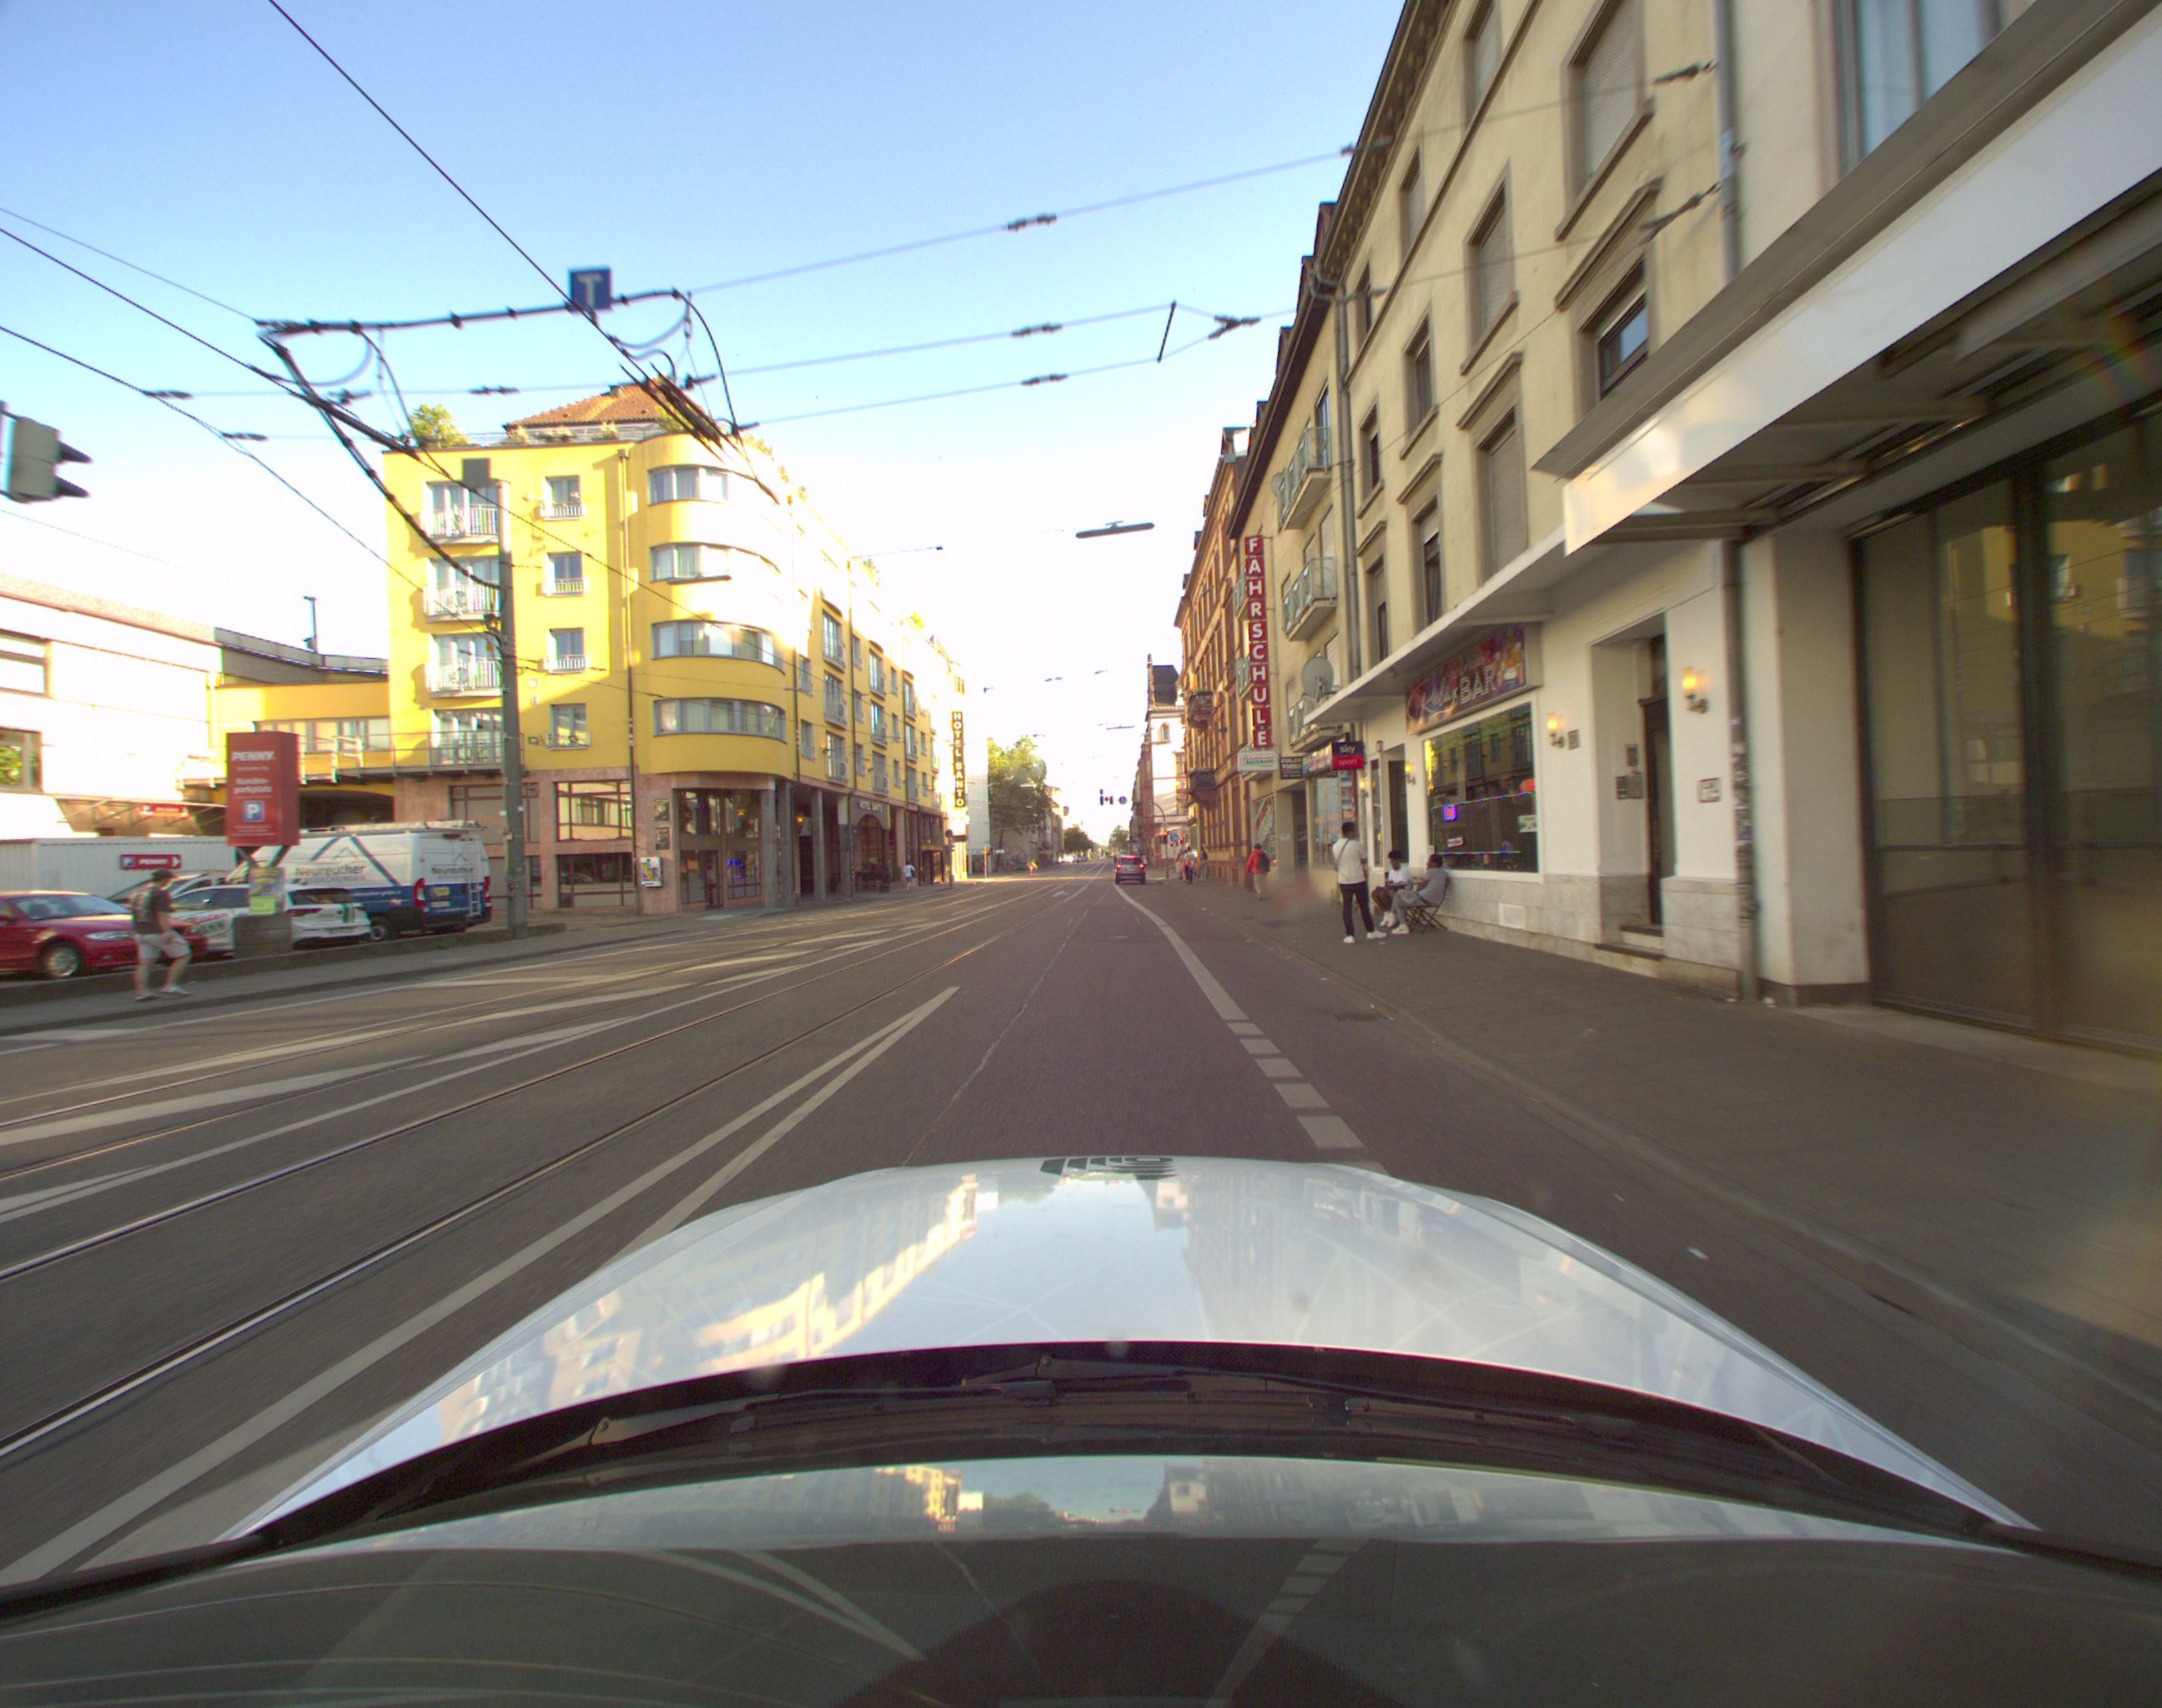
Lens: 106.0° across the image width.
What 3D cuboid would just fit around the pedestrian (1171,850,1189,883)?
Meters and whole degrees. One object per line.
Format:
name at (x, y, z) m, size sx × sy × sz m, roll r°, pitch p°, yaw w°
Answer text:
pedestrian at (5.737, 0.711, 47.243) m, size 0.802 × 1.800 × 0.762 m, roll -6°, pitch -1°, yaw 2°

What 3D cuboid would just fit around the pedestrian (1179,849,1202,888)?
pedestrian at (5.246, 0.685, 39.092) m, size 0.803 × 1.800 × 1.092 m, roll -6°, pitch -1°, yaw 1°

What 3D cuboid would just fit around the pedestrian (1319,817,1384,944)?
pedestrian at (4.122, 0.393, 12.454) m, size 0.699 × 1.812 × 0.682 m, roll -8°, pitch -1°, yaw 18°

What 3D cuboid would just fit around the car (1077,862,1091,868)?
car at (0.904, 3.476, 257.486) m, size 4.004 × 2.014 × 1.985 m, roll -1°, pitch -1°, yaw -23°

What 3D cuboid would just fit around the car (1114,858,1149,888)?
car at (2.952, 1.113, 48.255) m, size 1.986 × 1.618 × 4.001 m, roll 1°, pitch -1°, yaw 2°

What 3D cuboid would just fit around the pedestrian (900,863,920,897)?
pedestrian at (-9.477, 1.441, 45.274) m, size 0.748 × 1.819 × 1.046 m, roll 3°, pitch -1°, yaw 2°

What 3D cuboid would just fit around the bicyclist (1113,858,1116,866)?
bicyclist at (7.124, 1.689, 173.663) m, size 0.573 × 1.554 × 0.595 m, roll -2°, pitch -1°, yaw 3°

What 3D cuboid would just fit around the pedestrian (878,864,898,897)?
pedestrian at (-10.643, 1.466, 44.849) m, size 0.794 × 1.771 × 0.750 m, roll 3°, pitch -1°, yaw 2°

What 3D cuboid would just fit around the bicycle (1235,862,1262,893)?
bicycle at (5.974, 0.827, 29.142) m, size 0.552 × 1.061 × 2.312 m, roll -4°, pitch -1°, yaw 3°

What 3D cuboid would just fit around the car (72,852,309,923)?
car at (-24.500, 0.874, 22.674) m, size 1.986 × 1.736 × 4.121 m, roll -2°, pitch -1°, yaw 1°

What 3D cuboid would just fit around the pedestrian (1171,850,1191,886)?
pedestrian at (5.224, 0.747, 42.705) m, size 0.803 × 1.800 × 0.761 m, roll -6°, pitch -1°, yaw 0°

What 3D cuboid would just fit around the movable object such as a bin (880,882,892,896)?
movable object such as a bin at (-10.536, 1.896, 44.050) m, size 0.381 × 0.716 × 0.842 m, roll 3°, pitch 0°, yaw 4°

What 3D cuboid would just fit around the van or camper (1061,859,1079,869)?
van or camper at (-3.009, 2.779, 221.031) m, size 4.662 × 2.563 × 1.981 m, roll 0°, pitch -2°, yaw -29°

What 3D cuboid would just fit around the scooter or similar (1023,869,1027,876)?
scooter or similar at (-8.431, 2.806, 122.537) m, size 0.515 × 1.057 × 1.478 m, roll -2°, pitch -1°, yaw 0°

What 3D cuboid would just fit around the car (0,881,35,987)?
car at (-17.509, 1.205, 10.960) m, size 4.570 × 1.475 × 1.881 m, roll -2°, pitch -1°, yaw 2°

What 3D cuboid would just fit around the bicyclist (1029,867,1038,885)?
bicyclist at (-4.372, 2.047, 74.469) m, size 0.737 × 1.634 × 0.608 m, roll 0°, pitch -2°, yaw 0°

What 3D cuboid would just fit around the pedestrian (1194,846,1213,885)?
pedestrian at (6.357, 0.596, 42.295) m, size 0.688 × 1.908 × 0.670 m, roll -6°, pitch -1°, yaw 0°

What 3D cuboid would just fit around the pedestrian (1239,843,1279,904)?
pedestrian at (5.101, 0.539, 23.364) m, size 0.795 × 1.627 × 0.826 m, roll -7°, pitch -1°, yaw 2°

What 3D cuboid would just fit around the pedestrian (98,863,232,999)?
pedestrian at (-12.960, 1.056, 11.551) m, size 0.830 × 1.832 × 0.910 m, roll -2°, pitch -1°, yaw 2°

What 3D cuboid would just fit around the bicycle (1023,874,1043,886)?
bicycle at (-4.405, 2.380, 74.640) m, size 1.708 × 1.034 × 0.599 m, roll 0°, pitch -2°, yaw 1°

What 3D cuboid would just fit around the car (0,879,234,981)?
car at (-17.327, 1.246, 13.549) m, size 4.570 × 1.475 × 1.881 m, roll -2°, pitch -1°, yaw 2°

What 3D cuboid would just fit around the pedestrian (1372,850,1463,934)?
pedestrian at (5.180, 0.584, 12.587) m, size 0.706 × 1.174 × 1.010 m, roll -7°, pitch -1°, yaw -17°

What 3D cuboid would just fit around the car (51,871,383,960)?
car at (-16.768, 1.163, 15.963) m, size 4.570 × 1.475 × 1.881 m, roll -2°, pitch -1°, yaw 2°

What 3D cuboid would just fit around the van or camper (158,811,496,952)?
van or camper at (-16.947, 0.606, 18.534) m, size 5.583 × 2.827 × 2.317 m, roll -2°, pitch -1°, yaw 3°

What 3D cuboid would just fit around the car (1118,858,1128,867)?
car at (8.844, 1.793, 171.120) m, size 1.942 × 1.684 × 4.003 m, roll -2°, pitch -1°, yaw 3°

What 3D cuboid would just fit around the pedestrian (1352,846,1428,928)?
pedestrian at (5.185, 0.555, 13.670) m, size 0.834 × 1.255 × 0.699 m, roll -7°, pitch -1°, yaw -33°

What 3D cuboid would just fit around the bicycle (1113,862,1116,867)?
bicycle at (7.140, 2.164, 173.657) m, size 0.572 × 1.030 × 1.896 m, roll -2°, pitch -1°, yaw 4°
